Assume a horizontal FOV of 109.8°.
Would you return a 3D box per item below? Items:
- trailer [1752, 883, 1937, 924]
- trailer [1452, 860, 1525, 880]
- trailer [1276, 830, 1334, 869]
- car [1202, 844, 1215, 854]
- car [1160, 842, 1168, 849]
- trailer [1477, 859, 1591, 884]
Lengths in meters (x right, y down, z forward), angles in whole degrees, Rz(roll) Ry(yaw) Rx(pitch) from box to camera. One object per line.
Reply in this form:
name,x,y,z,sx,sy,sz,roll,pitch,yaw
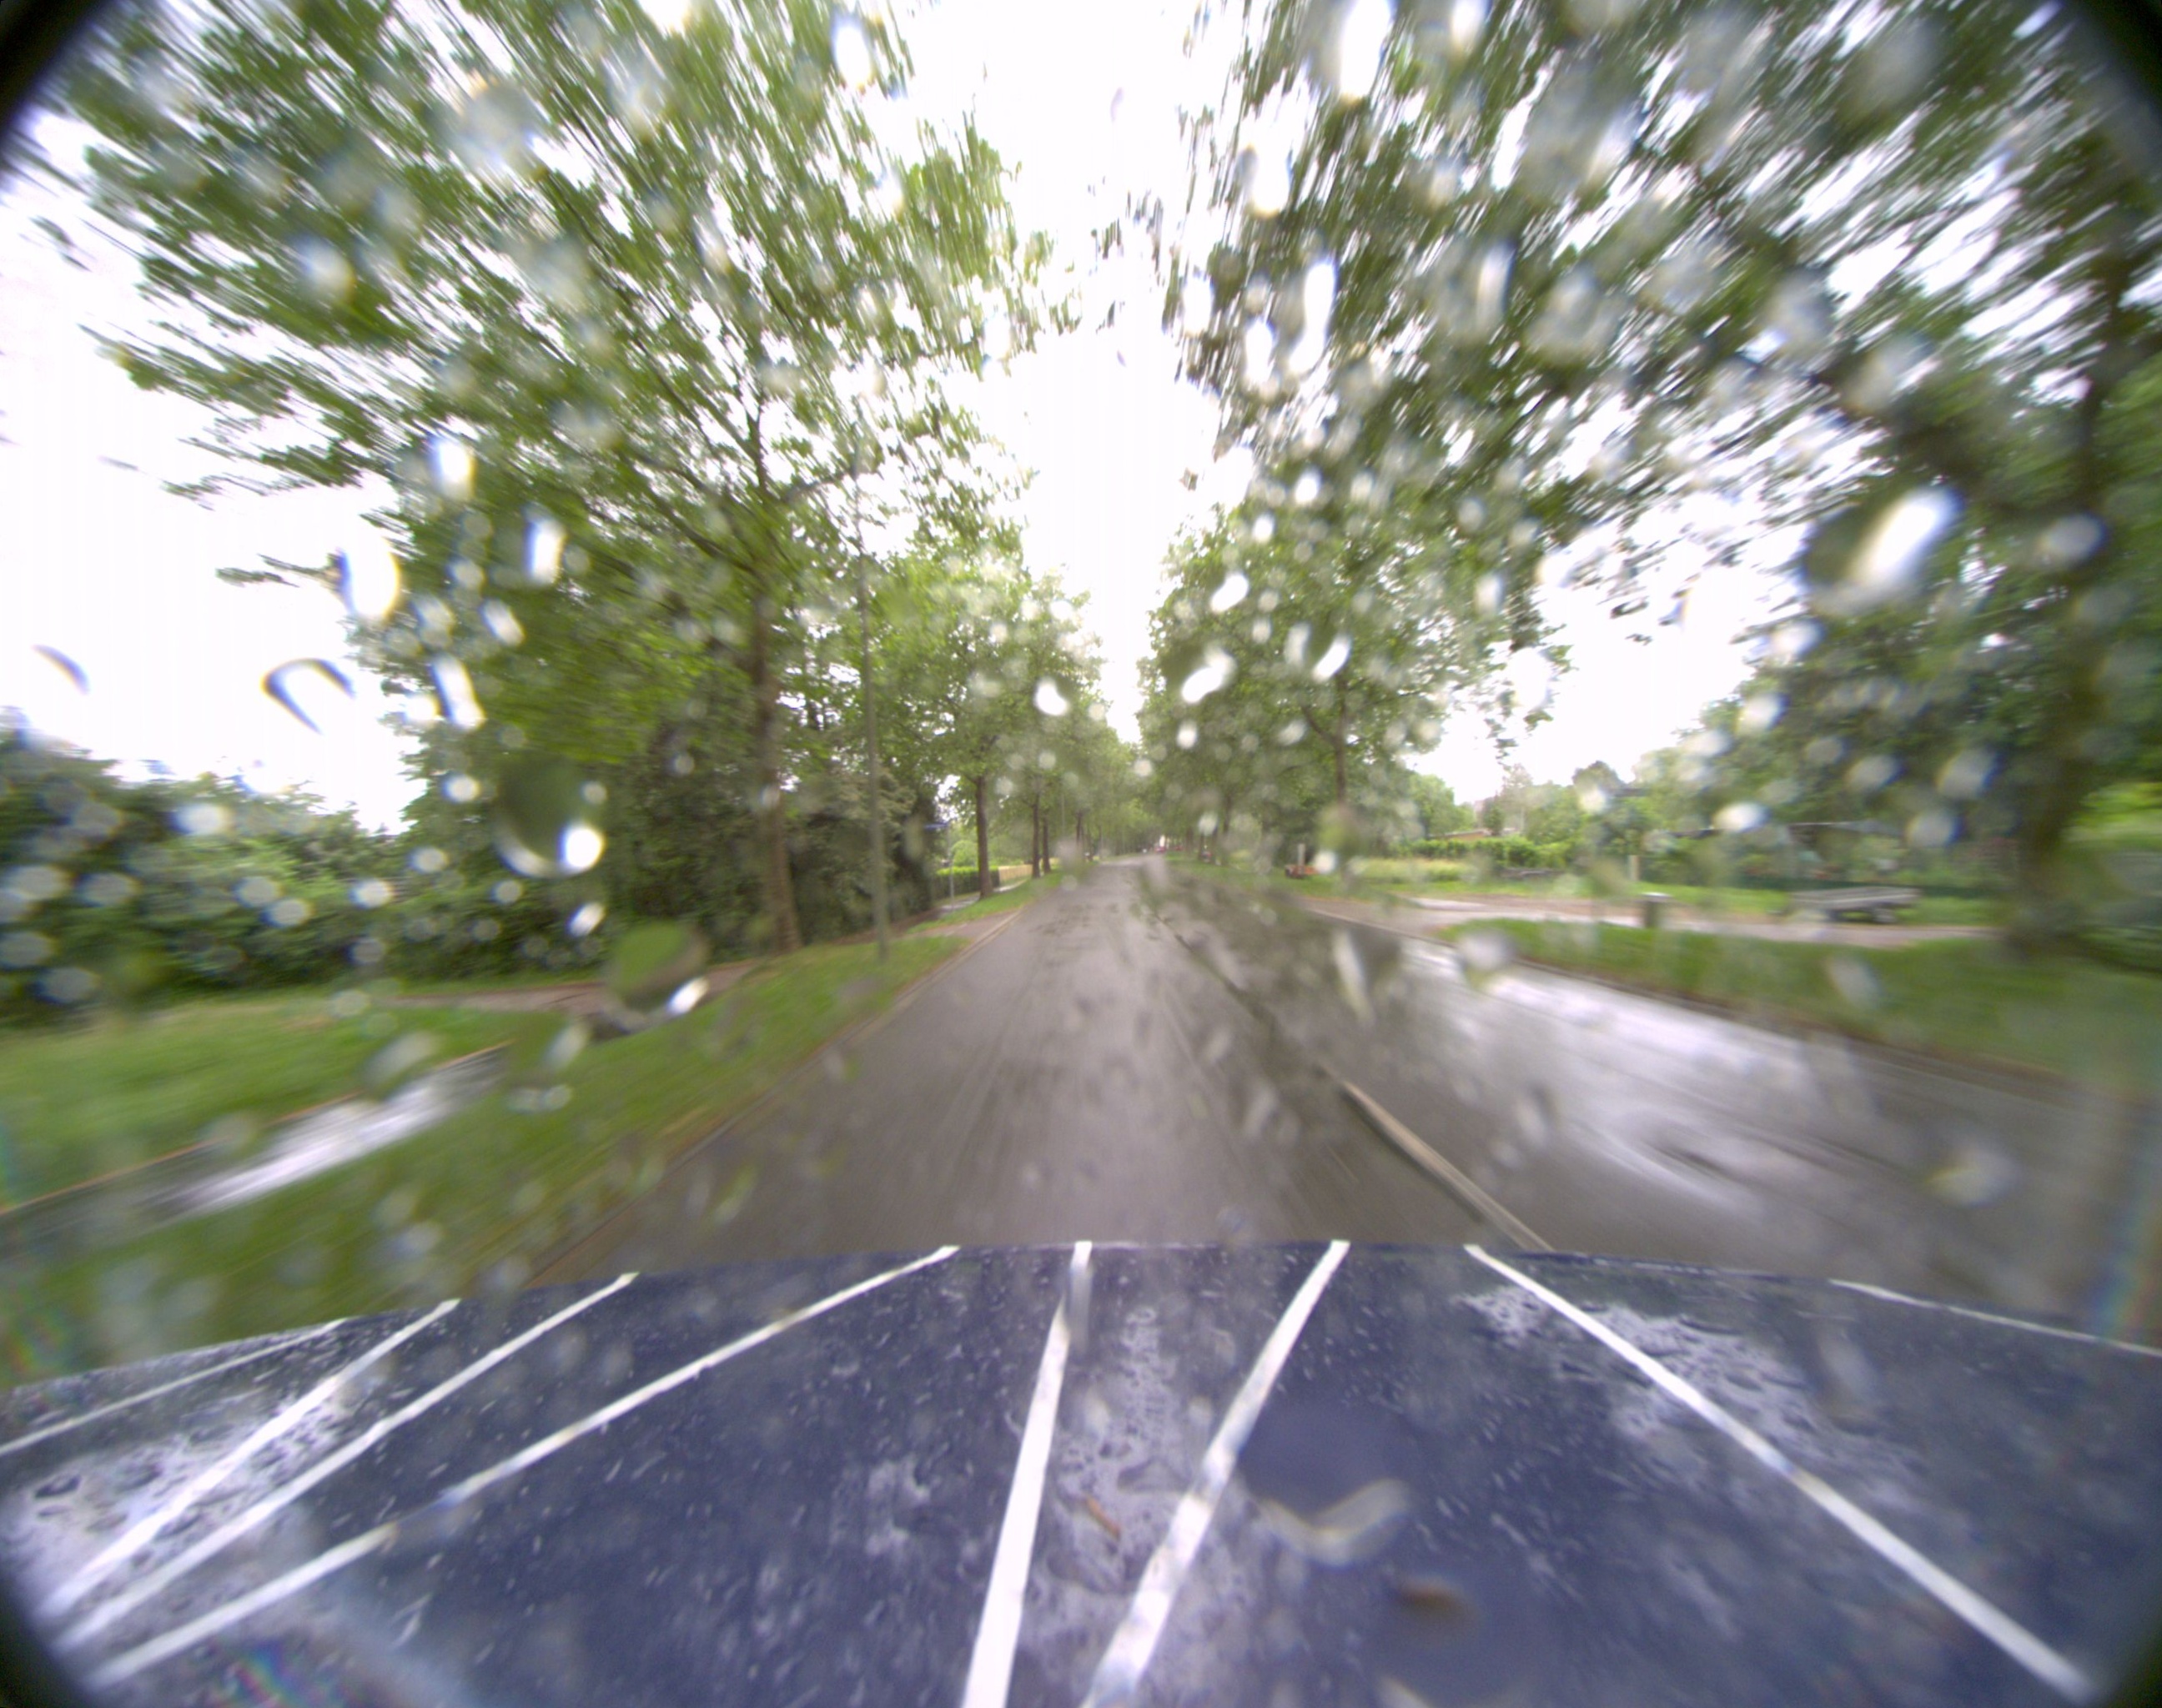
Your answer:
trailer,19.813,1.276,19.821,3.035,0.833,1.678,-2,1,5
trailer,22.448,0.876,41.908,3.082,0.939,1.769,-2,1,3
trailer,16.661,-0.357,56.958,2.804,2.648,6.653,-2,1,4
car,24.430,-0.991,145.698,1.896,1.672,4.004,-1,1,17
car,18.783,-1.957,171.633,1.593,1.445,3.373,-2,1,3
trailer,22.935,0.858,38.611,4.327,1.026,2.382,-2,1,2
